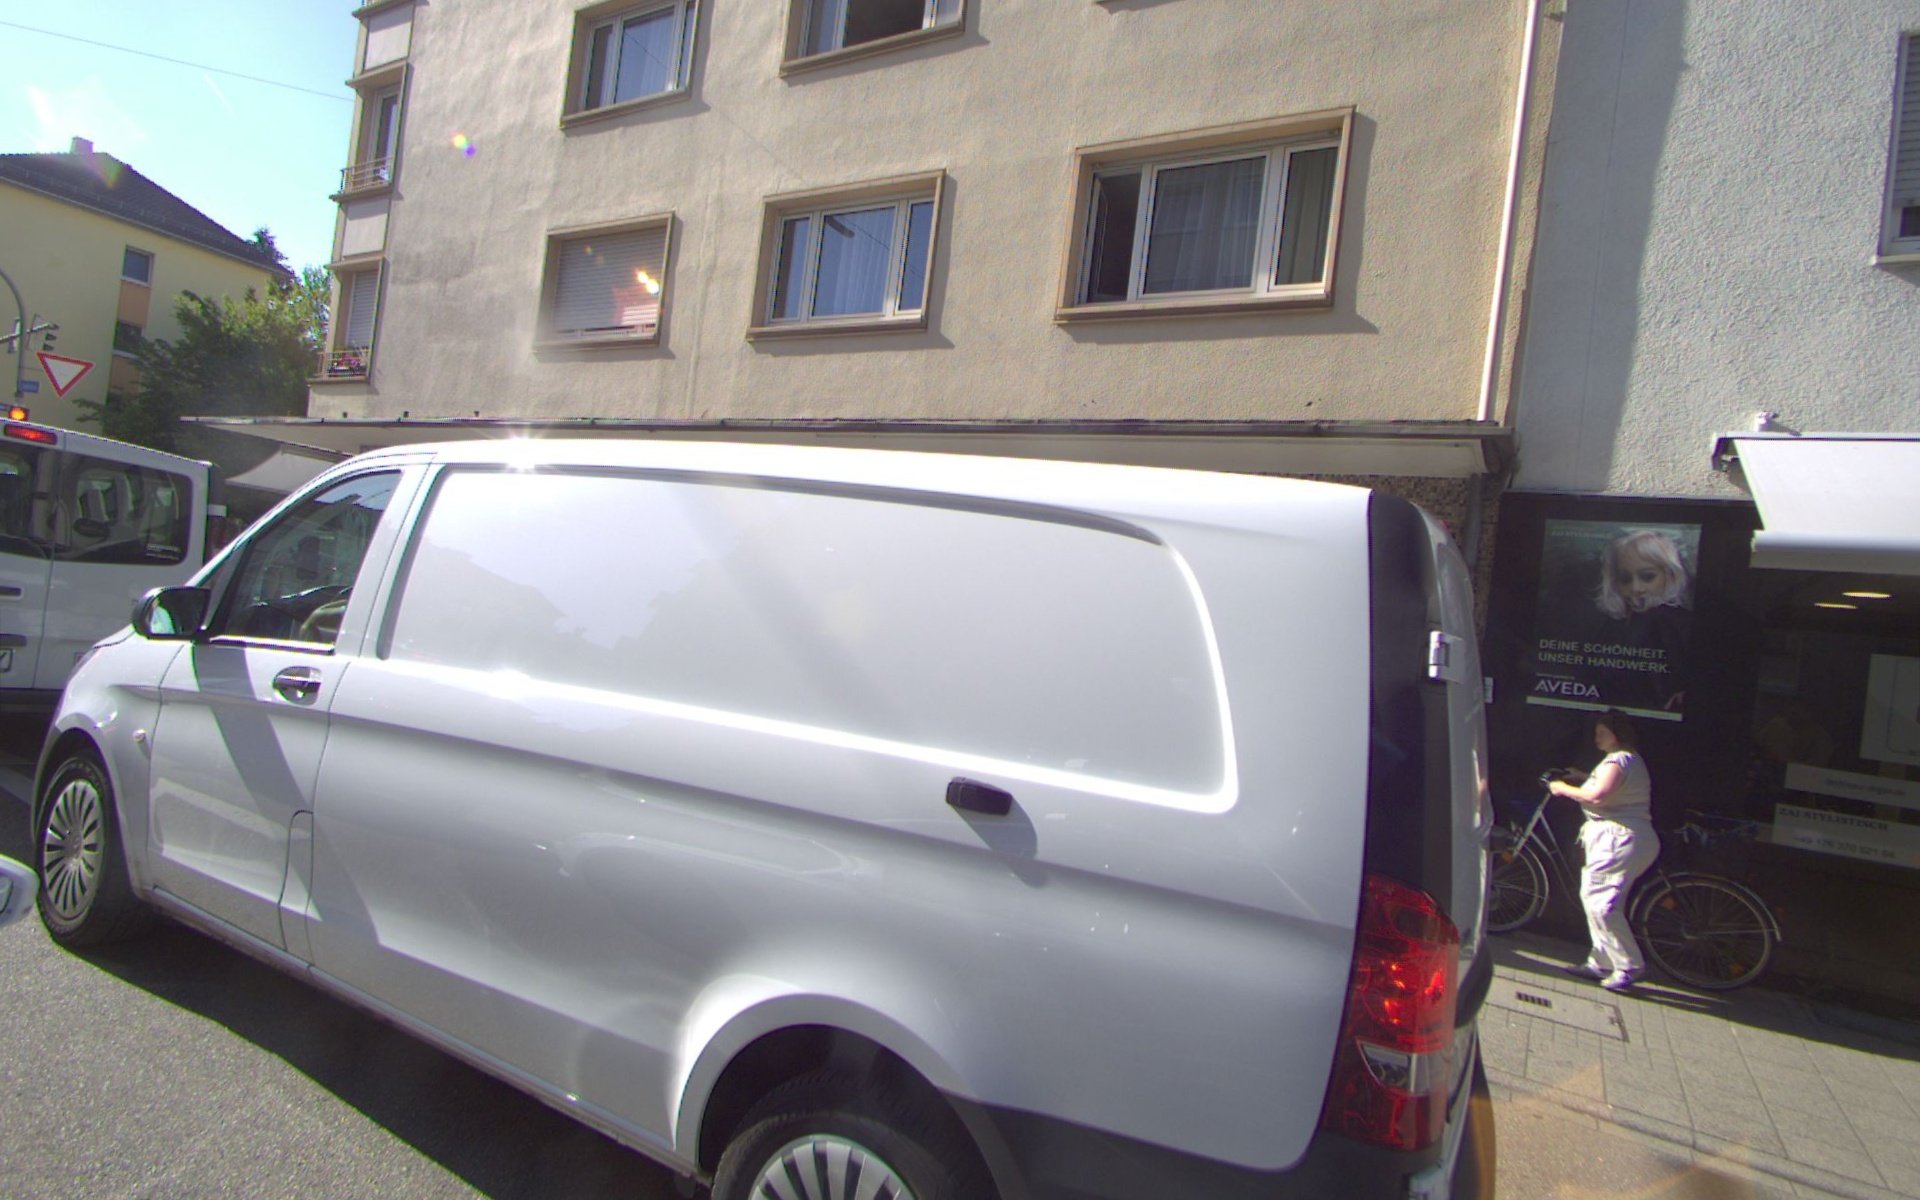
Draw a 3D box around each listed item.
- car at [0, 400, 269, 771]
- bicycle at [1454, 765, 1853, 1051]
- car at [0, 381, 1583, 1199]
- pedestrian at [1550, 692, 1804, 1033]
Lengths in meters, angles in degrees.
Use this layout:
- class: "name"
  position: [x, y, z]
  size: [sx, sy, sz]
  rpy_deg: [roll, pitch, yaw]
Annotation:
- class: "car"
  position: [-7.129, -0.273, 6.930]
  size: [4.815, 2.001, 1.998]
  rpy_deg: [7, -3, 33]
- class: "bicycle"
  position: [3.954, 1.719, 5.896]
  size: [1.763, 1.148, 0.401]
  rpy_deg: [7, 3, 32]
- class: "car"
  position: [-0.988, 0.489, 3.317]
  size: [4.911, 1.891, 1.840]
  rpy_deg: [7, -1, 30]
- class: "pedestrian"
  position: [3.941, 1.378, 5.635]
  size: [0.931, 1.559, 0.823]
  rpy_deg: [7, 3, 31]
